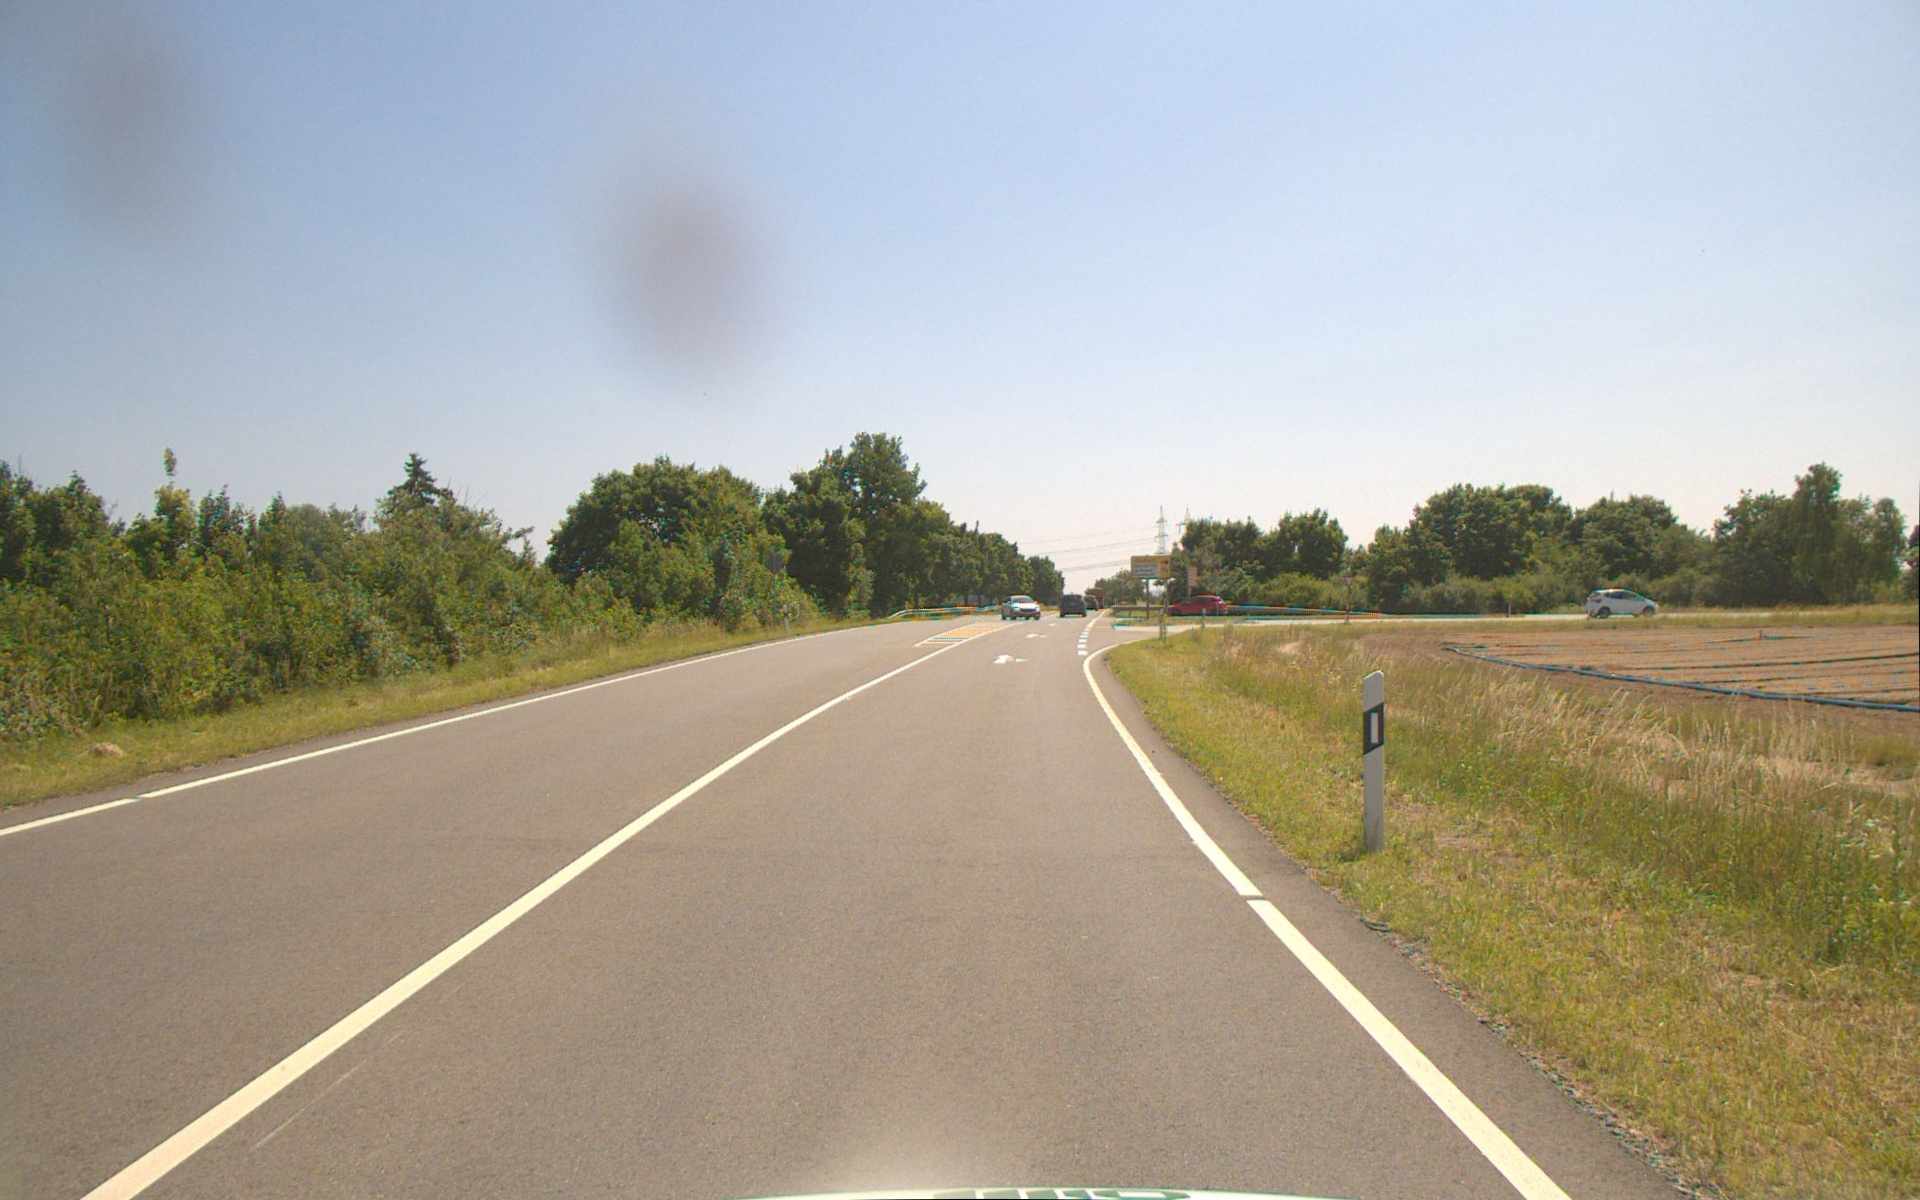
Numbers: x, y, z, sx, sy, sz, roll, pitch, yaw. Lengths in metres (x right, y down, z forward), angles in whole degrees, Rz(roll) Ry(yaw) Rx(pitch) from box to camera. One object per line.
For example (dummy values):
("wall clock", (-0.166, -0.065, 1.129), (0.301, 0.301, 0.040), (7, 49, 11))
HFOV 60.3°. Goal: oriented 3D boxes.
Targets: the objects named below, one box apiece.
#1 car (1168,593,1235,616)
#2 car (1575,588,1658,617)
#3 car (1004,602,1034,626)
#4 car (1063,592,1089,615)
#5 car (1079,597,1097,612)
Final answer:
("car", (15.640, 0.285, 107.121), (4.066, 1.443, 1.780), (0, -1, 19))
("car", (38.254, 0.141, 96.415), (4.042, 1.652, 2.072), (-1, 0, 3))
("car", (3.696, 0.857, 104.242), (1.797, 1.443, 4.716), (1, 0, 2))
("car", (8.374, 0.252, 119.472), (1.845, 1.544, 4.041), (1, 0, 4))
("car", (12.035, 0.440, 155.549), (1.609, 1.364, 4.041), (1, 0, 4))
